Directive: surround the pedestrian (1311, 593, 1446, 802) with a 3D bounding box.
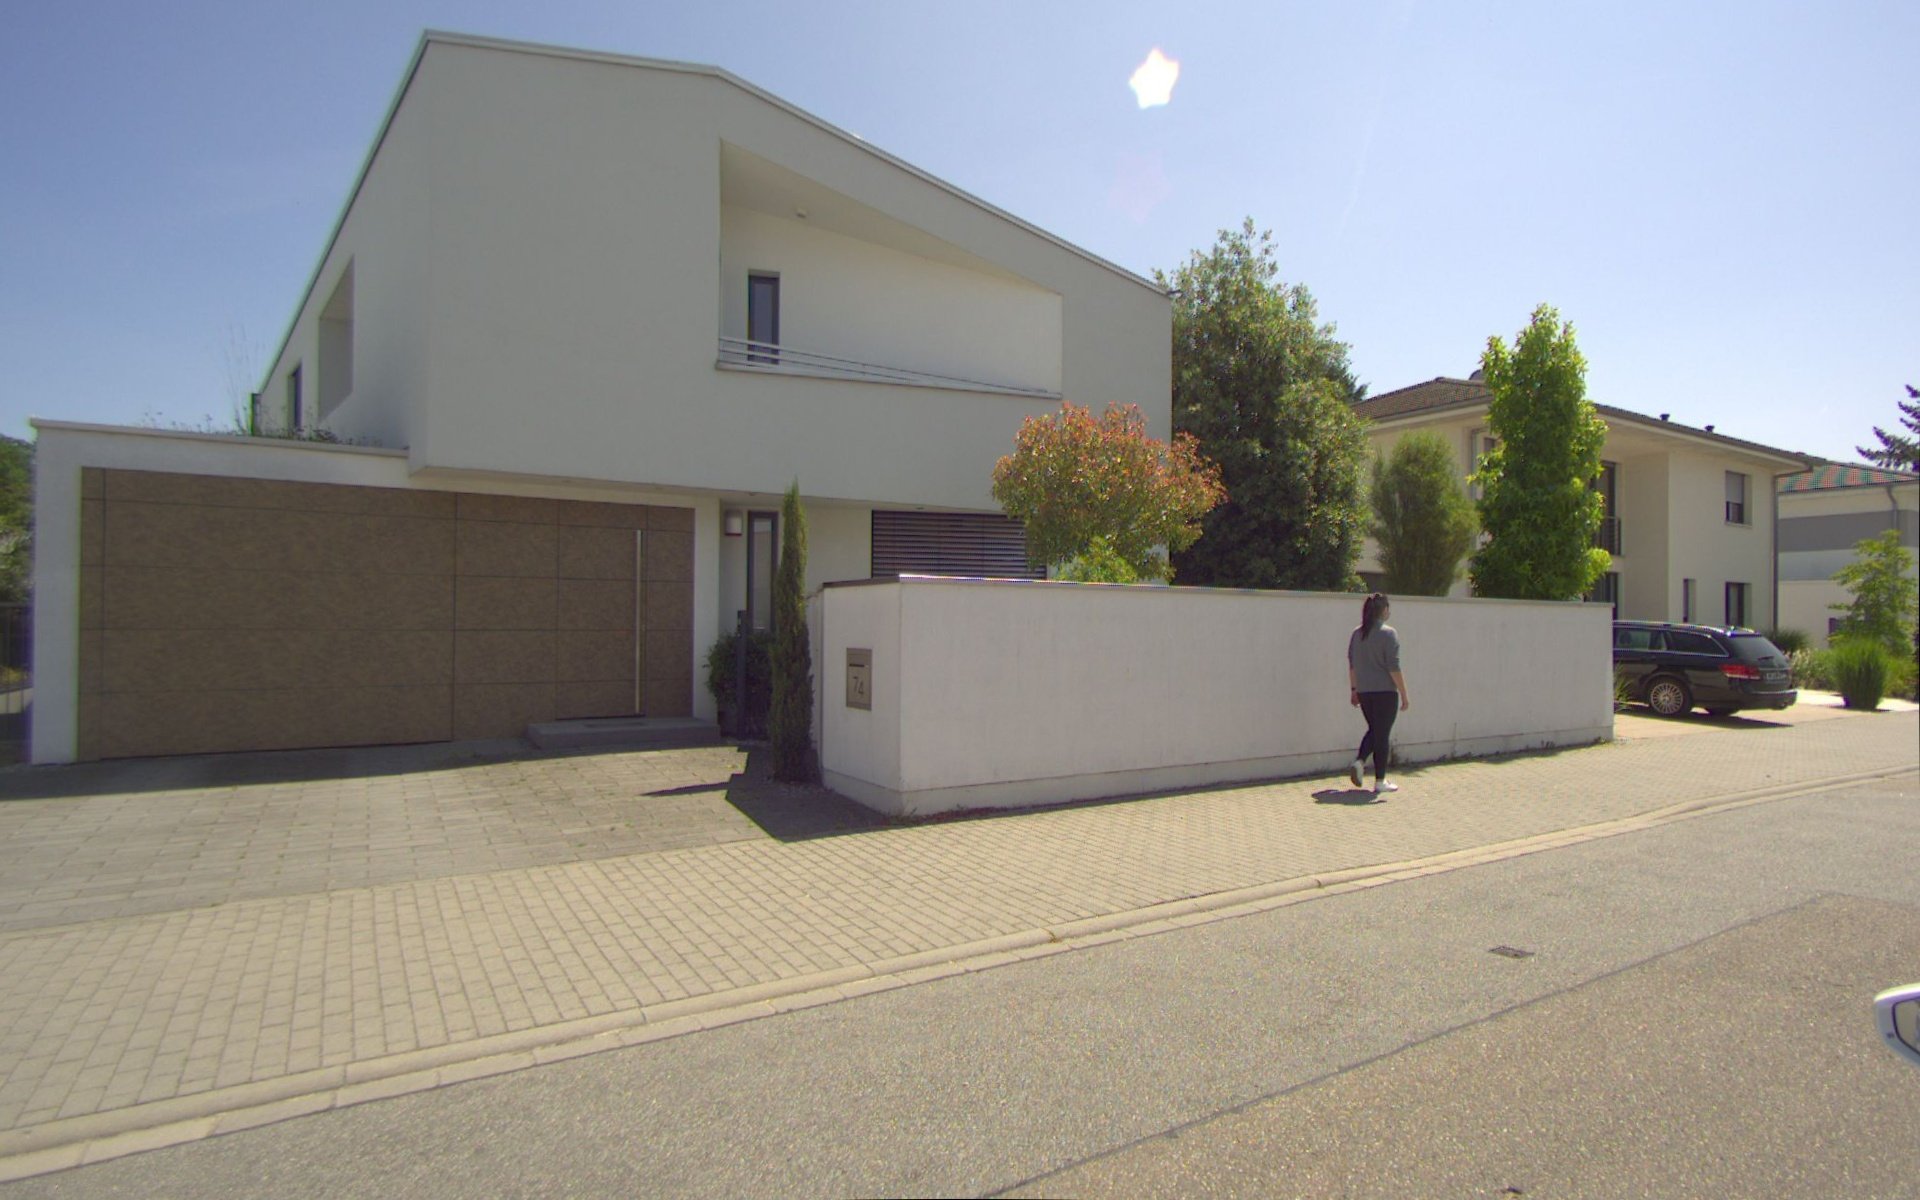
[{"bbox_3d":[3.782,0.845,9.090,0.950,1.770,0.711,1,-1,-31],"label":"pedestrian"}]

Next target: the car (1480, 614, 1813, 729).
[{"bbox_3d":[11.630,1.114,17.397,1.827,1.493,4.412,1,2,-27],"label":"car"}]
